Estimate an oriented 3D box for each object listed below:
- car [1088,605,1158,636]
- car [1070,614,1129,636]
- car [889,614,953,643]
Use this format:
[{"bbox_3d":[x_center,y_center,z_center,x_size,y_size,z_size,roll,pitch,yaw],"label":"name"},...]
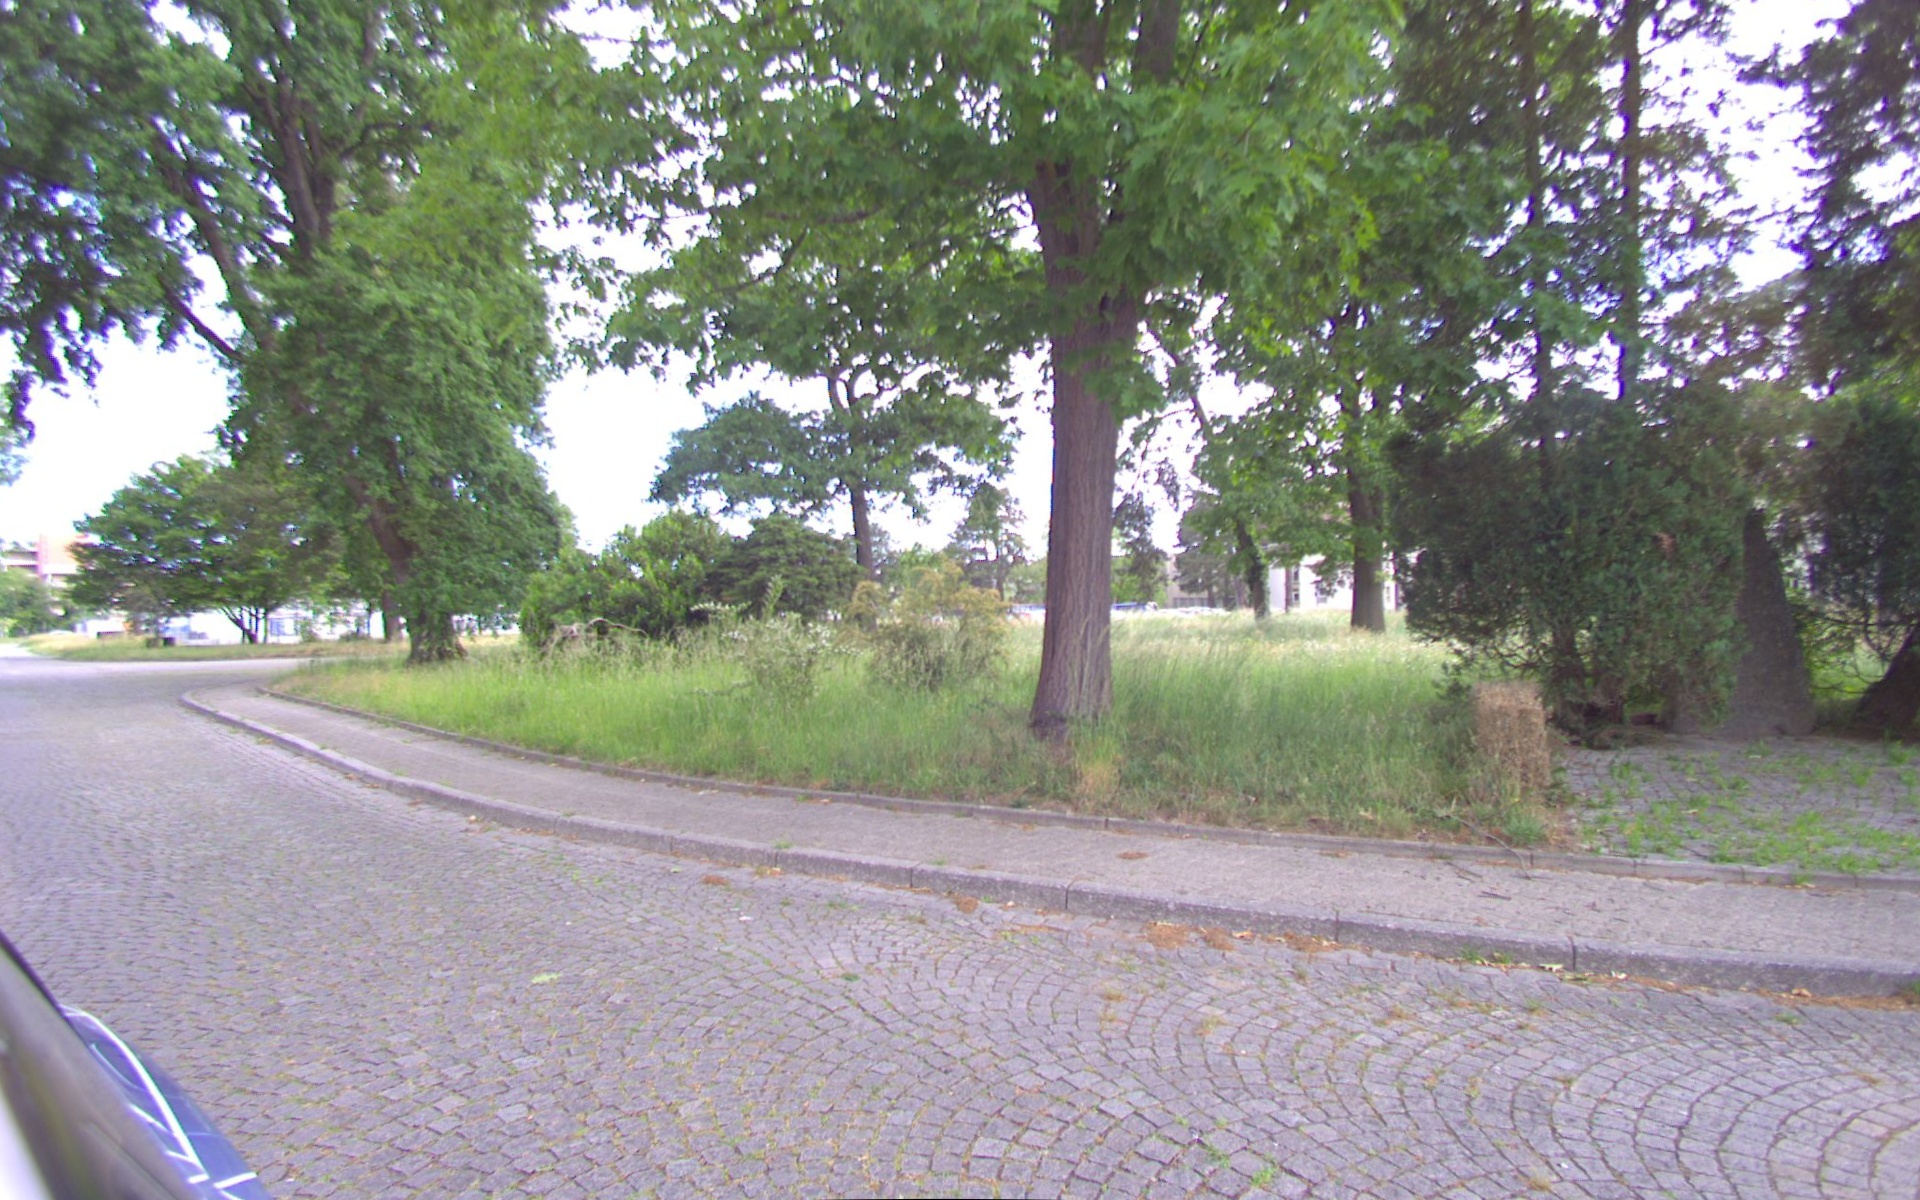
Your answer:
[{"bbox_3d":[11.239,1.408,69.907,4.547,1.916,1.767,-4,-3,45],"label":"car"},{"bbox_3d":[9.392,1.681,68.243,3.696,1.349,1.561,-4,-3,45],"label":"car"},{"bbox_3d":[-2.179,1.604,56.536,3.501,1.493,1.579,-4,-3,45],"label":"car"}]
